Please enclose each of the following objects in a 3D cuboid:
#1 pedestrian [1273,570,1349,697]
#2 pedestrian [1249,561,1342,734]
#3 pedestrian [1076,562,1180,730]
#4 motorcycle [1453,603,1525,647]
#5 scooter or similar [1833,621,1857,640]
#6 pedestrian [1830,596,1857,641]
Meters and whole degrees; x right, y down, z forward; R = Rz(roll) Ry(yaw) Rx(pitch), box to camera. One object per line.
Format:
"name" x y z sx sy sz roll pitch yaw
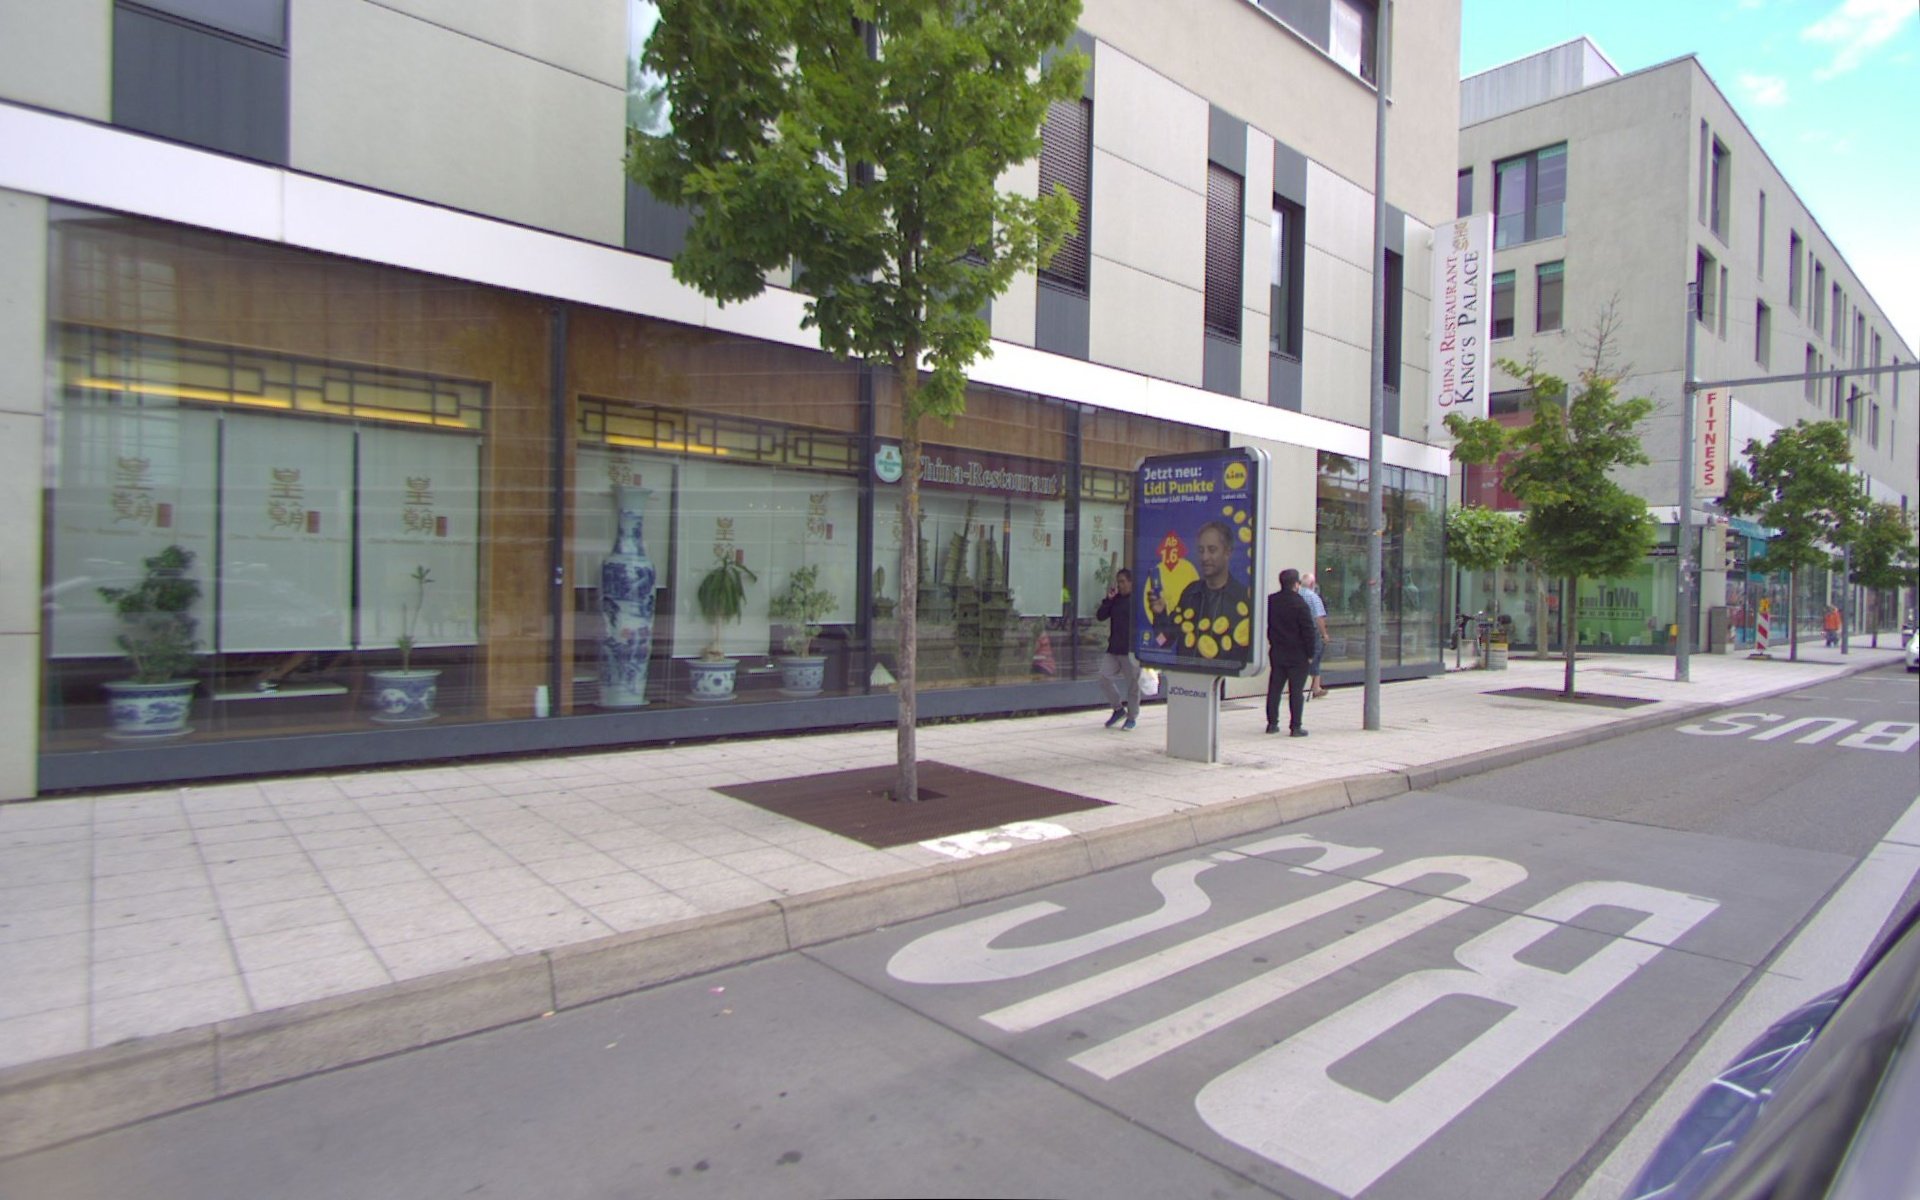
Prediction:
"pedestrian" 4.824 0.438 13.916 0.603 1.690 0.746 1 1 -40
"pedestrian" 3.430 0.457 10.343 0.603 1.690 0.656 1 1 -40
"pedestrian" 1.705 0.441 10.317 0.702 1.628 0.742 1 1 -40
"motorcycle" 16.144 0.756 30.928 0.584 1.274 1.841 -2 1 -42
"scooter or similar" 32.528 1.120 37.181 0.754 0.642 0.552 1 2 -41
"pedestrian" 31.995 0.678 36.642 0.719 1.586 0.590 1 2 -41
